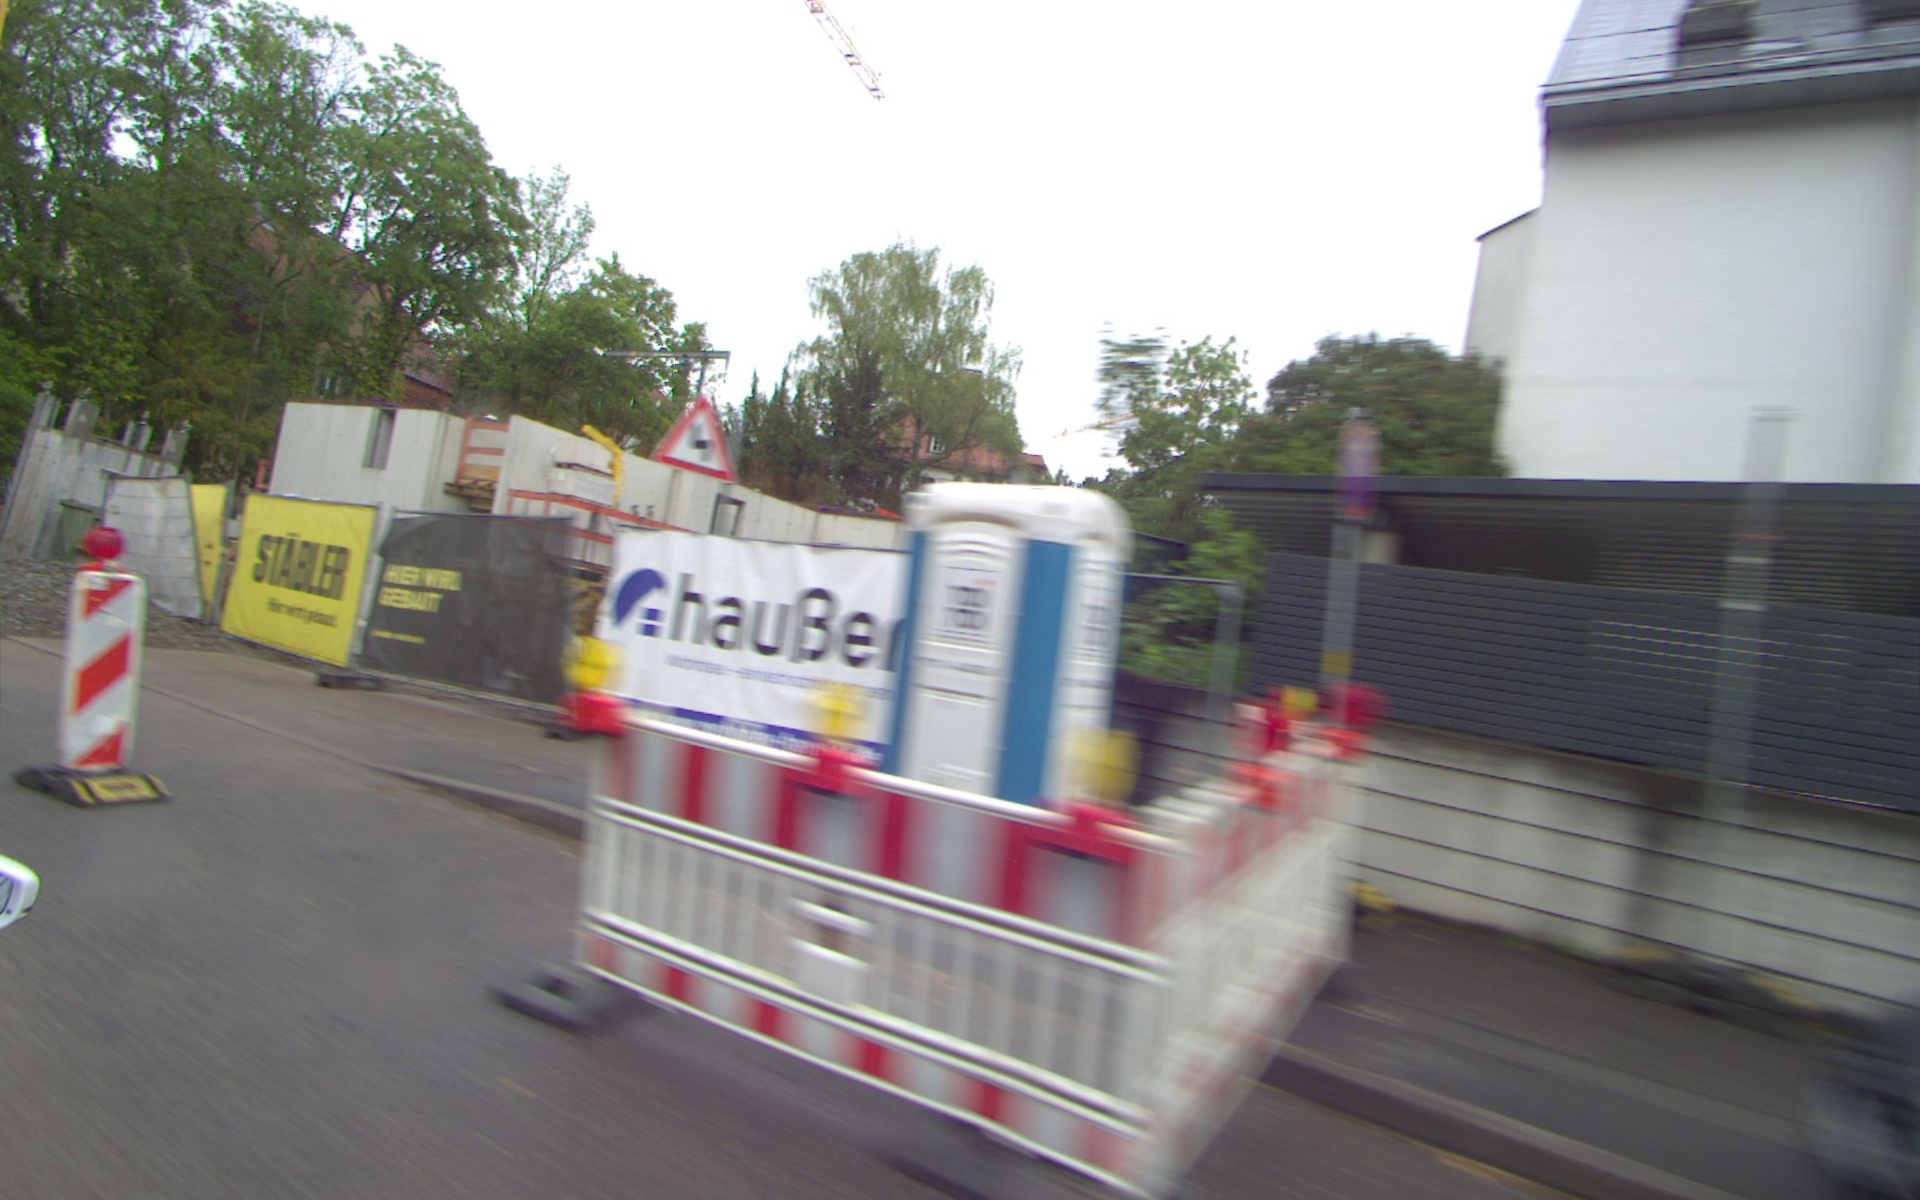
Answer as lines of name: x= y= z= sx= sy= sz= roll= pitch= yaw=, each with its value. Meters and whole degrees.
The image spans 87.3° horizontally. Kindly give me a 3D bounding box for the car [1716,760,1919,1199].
car: x=4.218 y=1.396 z=1.385 sx=4.756 sy=1.438 sz=1.937 roll=7 pitch=-2 yaw=31
